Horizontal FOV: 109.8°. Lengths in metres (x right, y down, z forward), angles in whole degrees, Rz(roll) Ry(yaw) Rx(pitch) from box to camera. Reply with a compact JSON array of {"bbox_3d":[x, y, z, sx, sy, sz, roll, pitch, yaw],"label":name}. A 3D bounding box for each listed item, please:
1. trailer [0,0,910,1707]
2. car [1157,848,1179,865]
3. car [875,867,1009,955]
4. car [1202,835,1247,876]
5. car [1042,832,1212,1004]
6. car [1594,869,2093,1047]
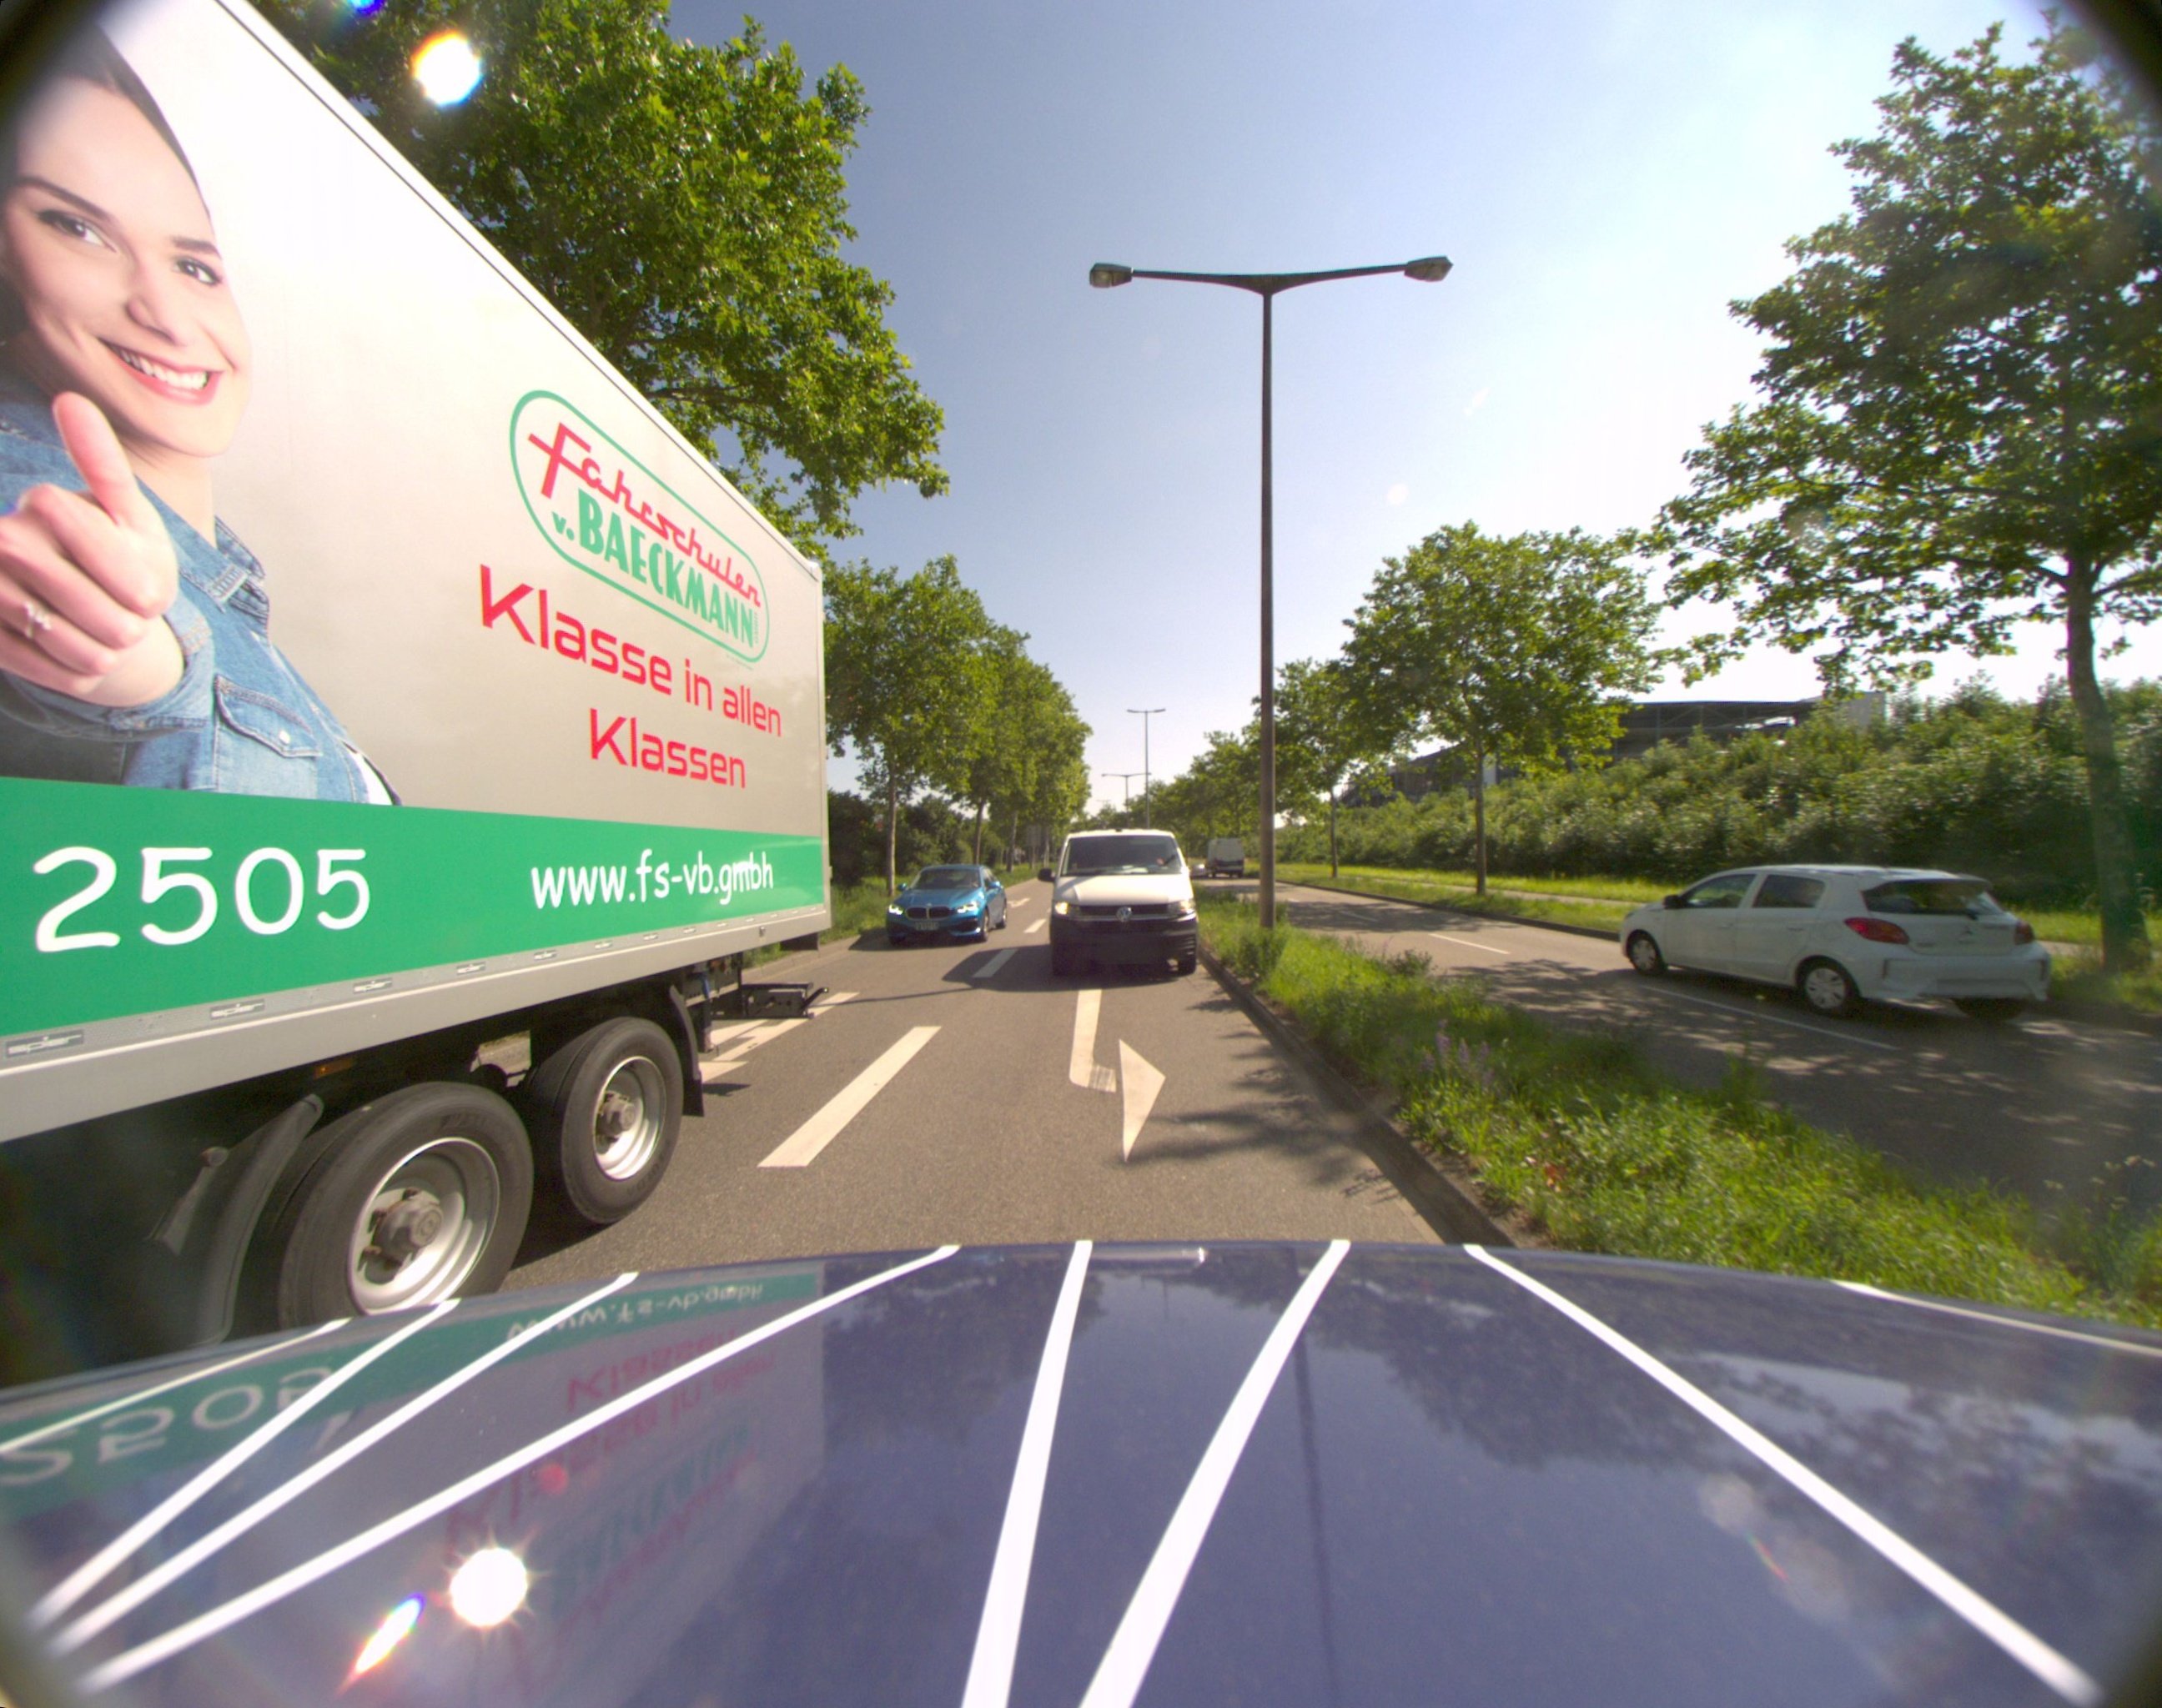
[{"bbox_3d":[-3.105,-0.323,2.923,2.743,3.854,7.736,-1,1,3],"label":"trailer"},{"bbox_3d":[10.638,0.275,92.773,1.999,1.887,4.573,1,0,-1],"label":"car"},{"bbox_3d":[-2.601,1.022,15.257,1.872,1.412,4.130,0,0,1],"label":"car"},{"bbox_3d":[9.761,0.084,52.055,1.998,2.647,5.786,1,1,1],"label":"car"},{"bbox_3d":[0.538,0.694,10.855,1.872,1.889,4.881,0,0,1],"label":"car"},{"bbox_3d":[8.017,0.949,8.646,1.704,1.499,4.000,0,0,1],"label":"car"}]
